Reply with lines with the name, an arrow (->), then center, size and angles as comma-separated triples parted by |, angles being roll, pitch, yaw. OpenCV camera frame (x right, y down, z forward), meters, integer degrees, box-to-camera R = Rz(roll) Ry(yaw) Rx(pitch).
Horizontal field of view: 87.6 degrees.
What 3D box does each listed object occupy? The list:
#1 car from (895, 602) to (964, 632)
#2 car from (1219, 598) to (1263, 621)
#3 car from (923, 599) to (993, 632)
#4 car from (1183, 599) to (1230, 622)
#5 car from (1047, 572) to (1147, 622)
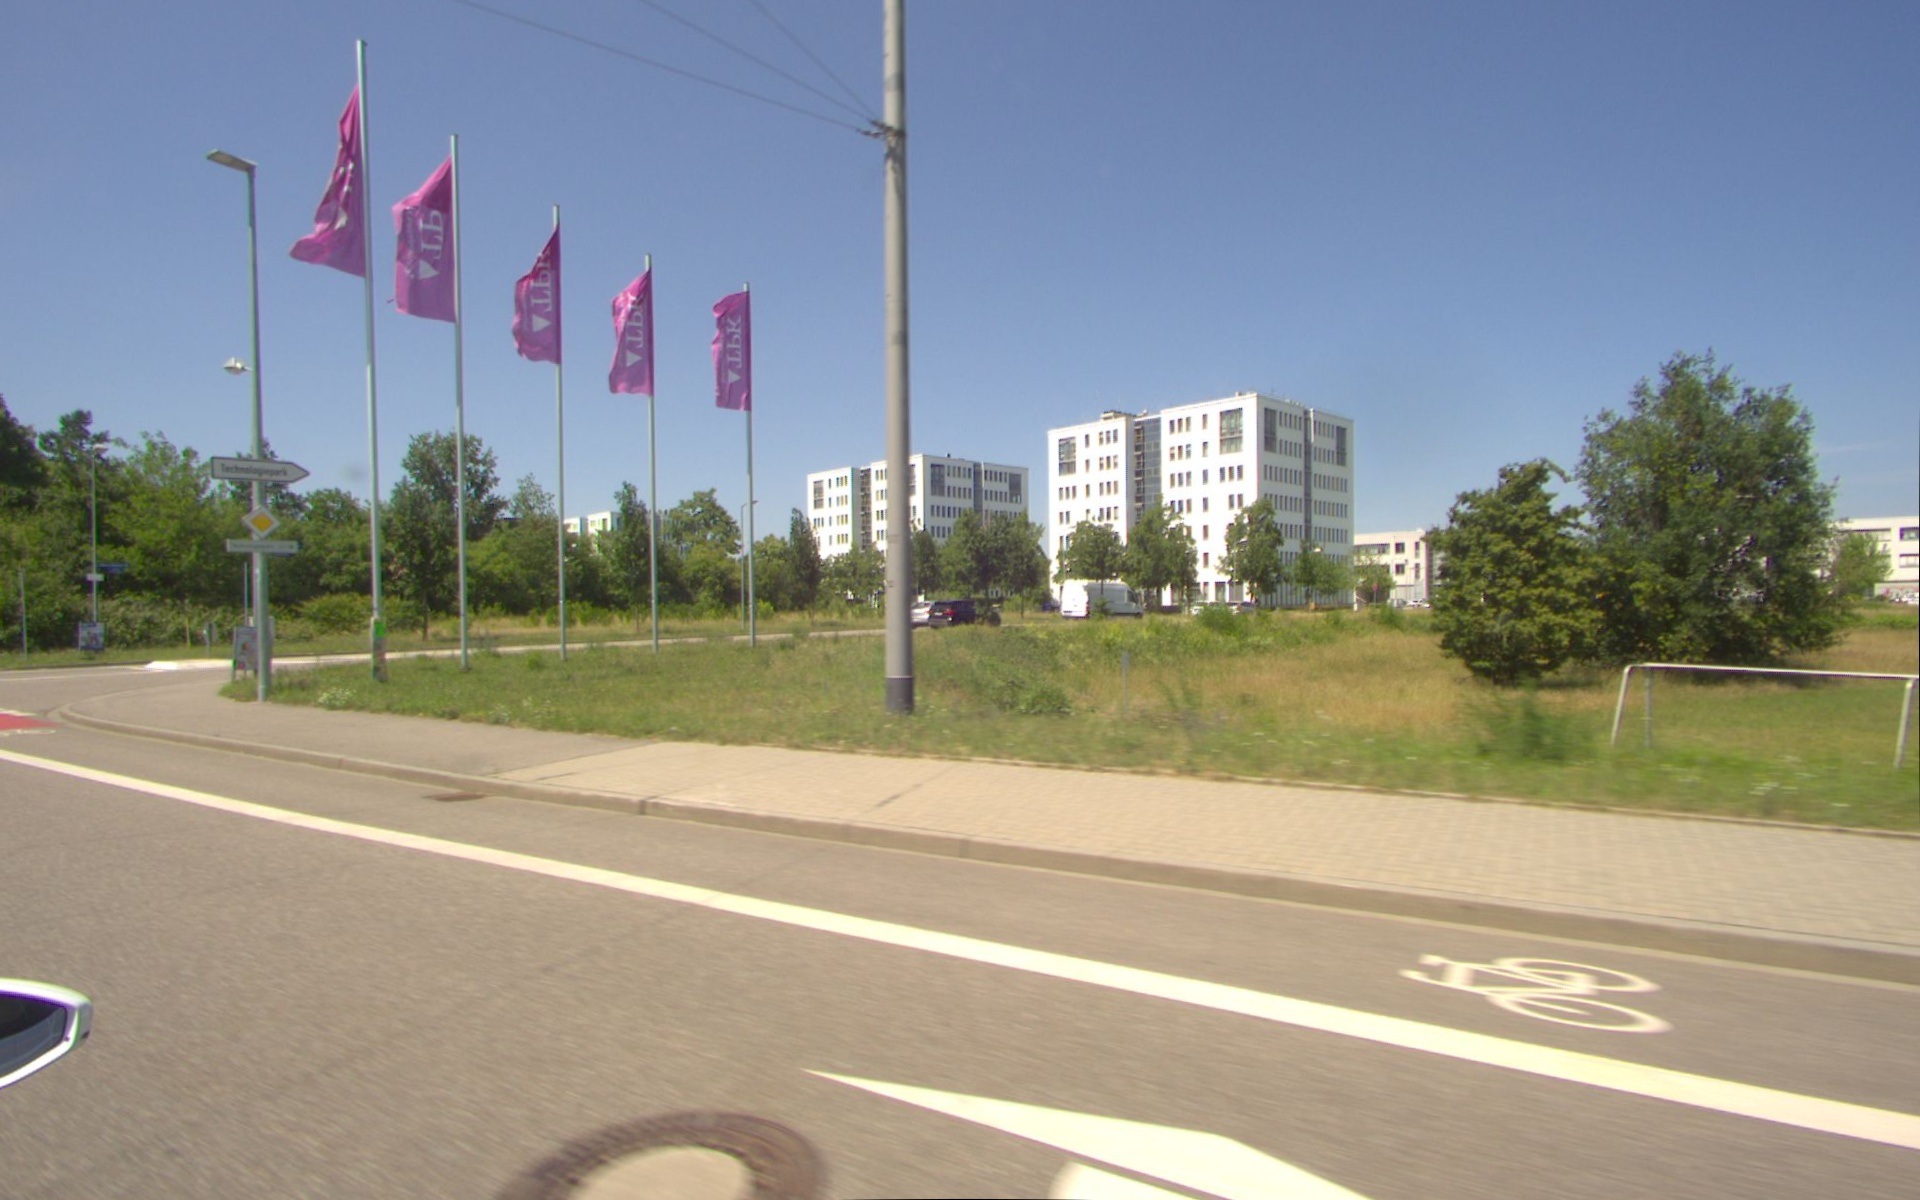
car -> -1.617, 0.918, 53.689 | 1.687, 1.552, 3.599 | 0, -2, 41
car -> 20.835, 0.715, 74.115 | 1.687, 1.552, 3.597 | 0, -2, 43
car -> -0.076, 0.793, 50.095 | 1.684, 1.552, 3.604 | 0, -2, 37
car -> 17.350, 0.741, 70.526 | 1.687, 1.552, 3.597 | 0, -2, 43
car -> 8.325, -0.103, 60.178 | 2.638, 2.838, 6.797 | -1, -2, 42
